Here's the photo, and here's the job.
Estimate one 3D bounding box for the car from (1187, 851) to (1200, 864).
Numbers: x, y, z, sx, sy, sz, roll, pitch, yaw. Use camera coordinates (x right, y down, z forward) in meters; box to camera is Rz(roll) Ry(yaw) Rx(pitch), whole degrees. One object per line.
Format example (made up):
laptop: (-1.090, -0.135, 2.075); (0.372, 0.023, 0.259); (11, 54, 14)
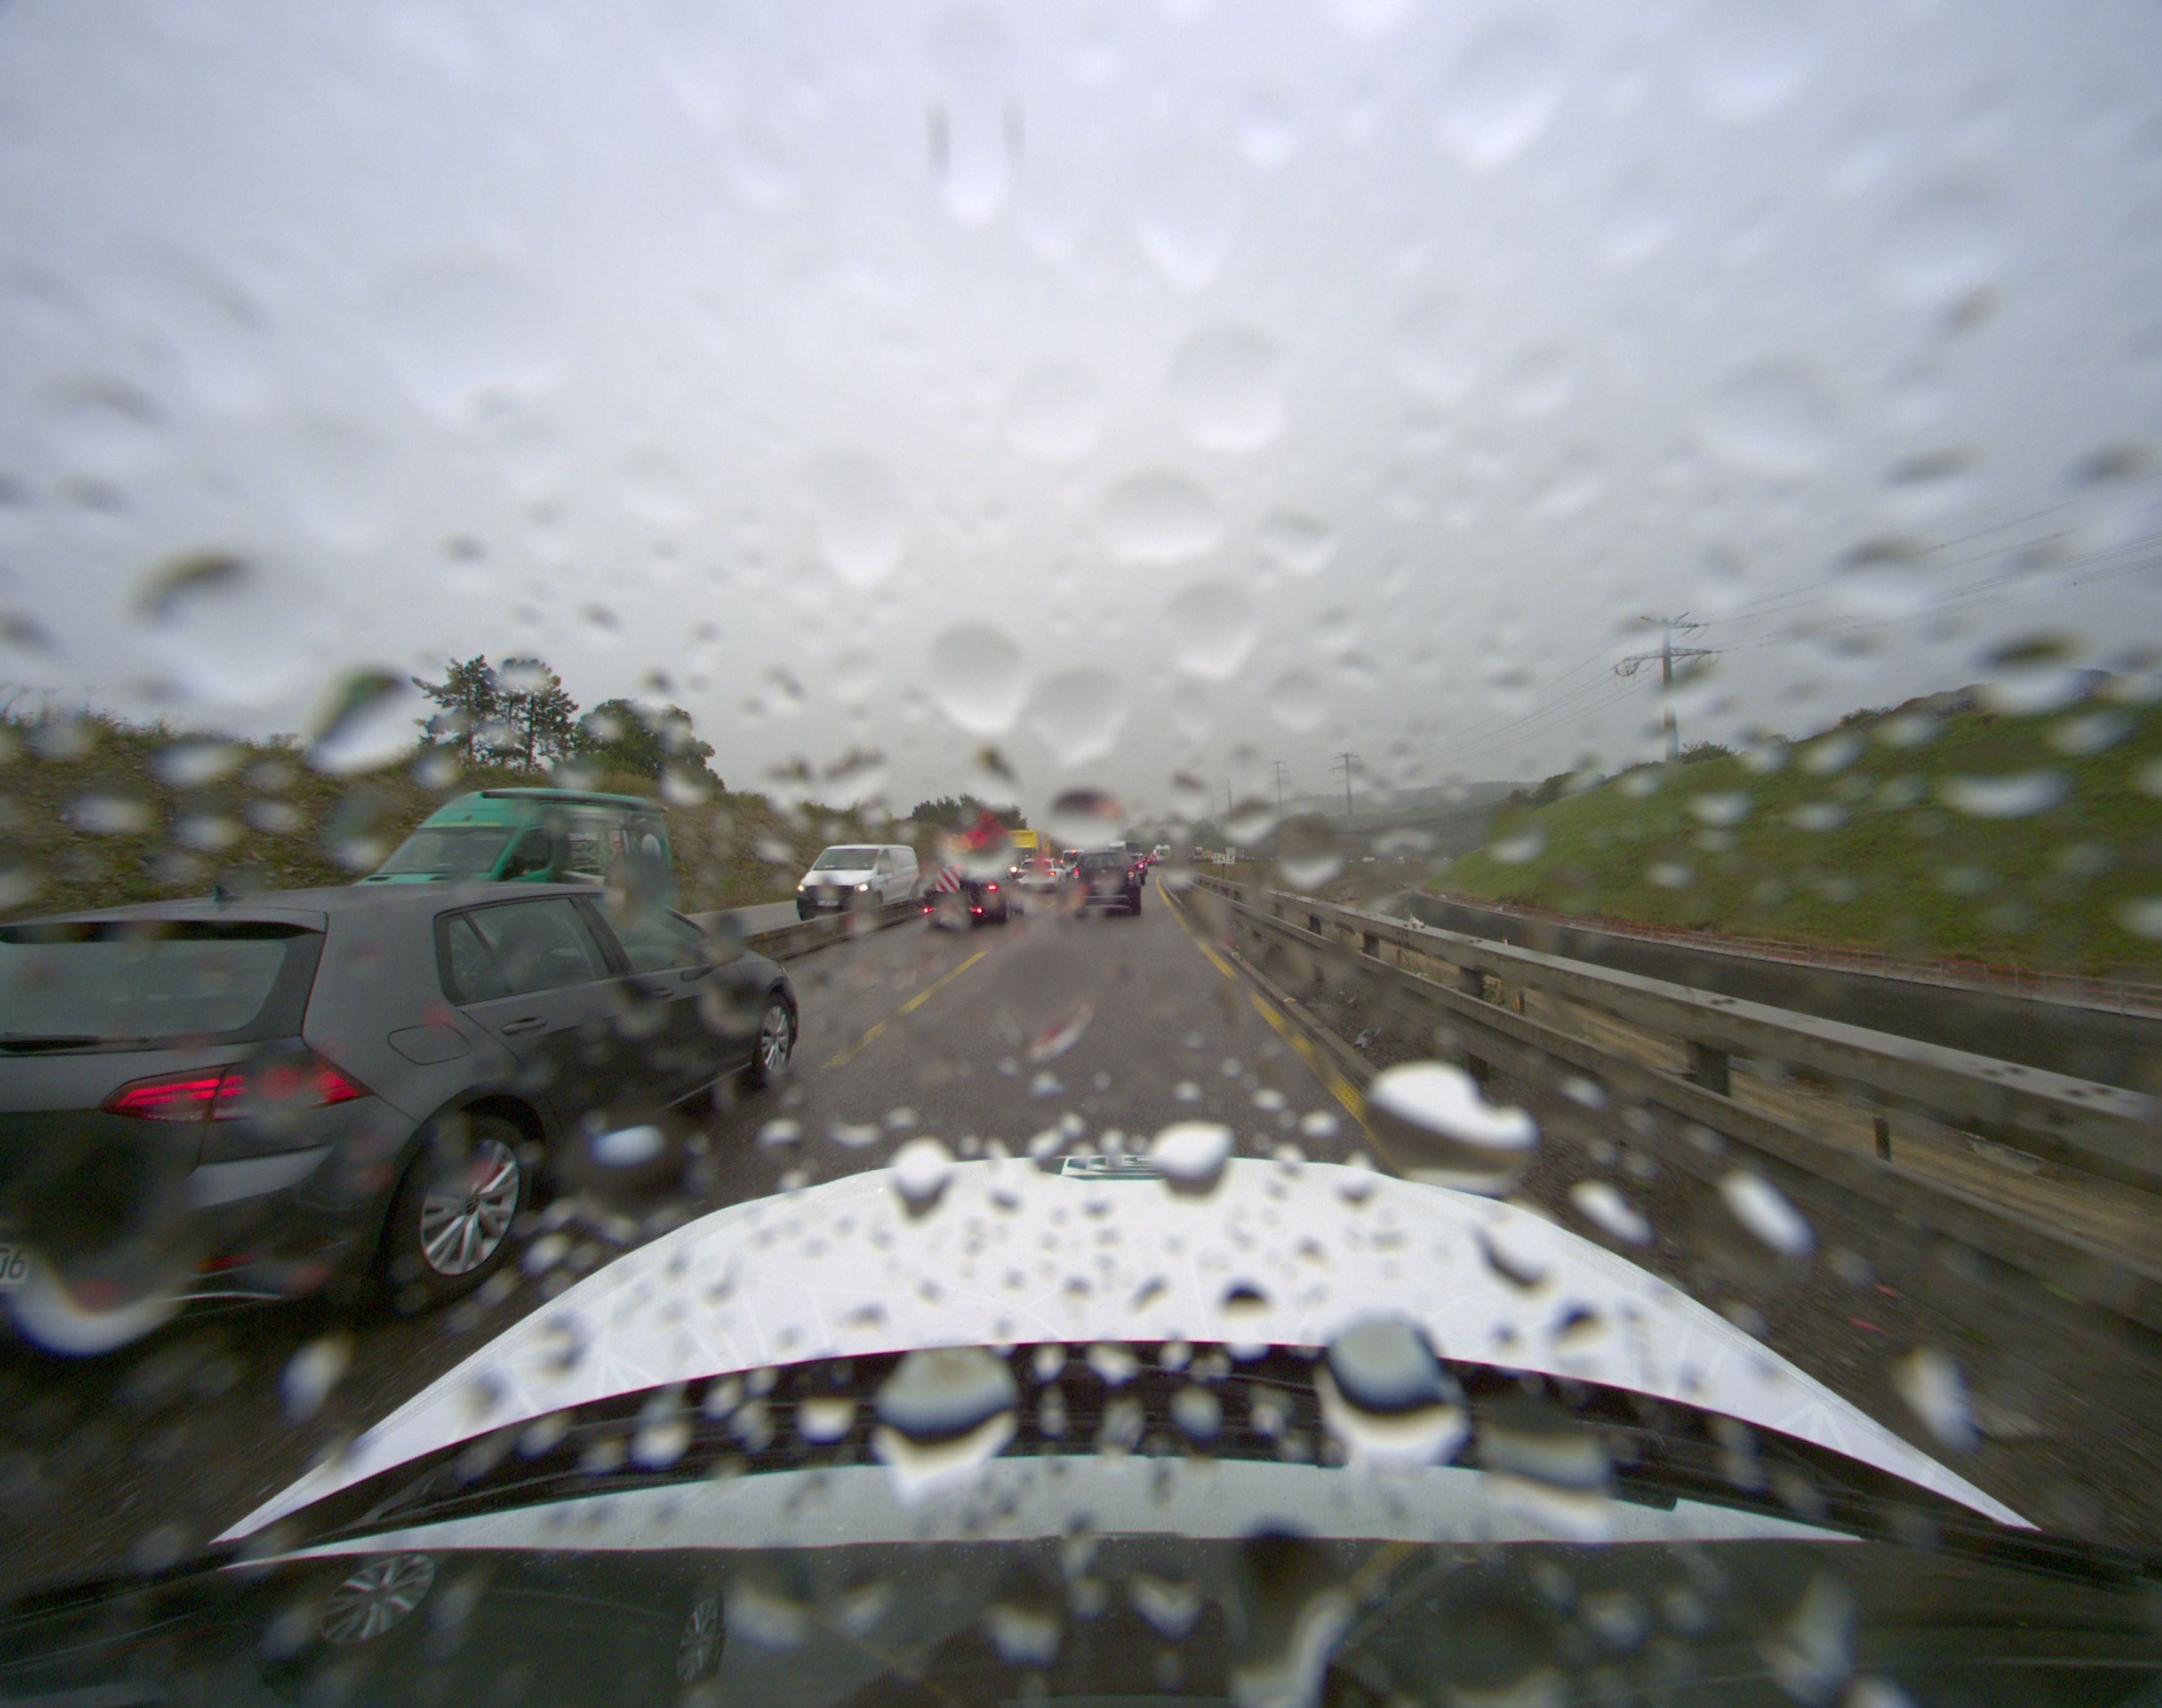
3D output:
car: (16.200, 0.505, 117.095); (1.765, 1.916, 4.010); (0, 0, 8)

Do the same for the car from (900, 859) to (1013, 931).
car: (-2.805, 0.880, 19.177); (1.821, 1.476, 3.780); (-1, 0, 4)

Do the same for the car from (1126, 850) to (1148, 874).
car: (4.104, 0.563, 59.312); (1.523, 1.640, 4.019); (0, 0, 6)

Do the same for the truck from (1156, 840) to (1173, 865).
truck: (10.997, -0.231, 106.991); (2.138, 3.166, 6.471); (0, 0, 7)

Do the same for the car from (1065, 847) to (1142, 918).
car: (0.659, 0.683, 21.212); (1.796, 1.646, 3.780); (-1, 0, 4)

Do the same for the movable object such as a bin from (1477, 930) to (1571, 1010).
movable object such as a bin: (25.106, 6.491, 46.394); (3.201, 3.867, 4.125); (1, 1, 2)

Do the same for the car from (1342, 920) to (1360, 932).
car: (50.033, 13.369, 151.222); (2.354, 2.013, 4.006); (0, 0, 5)

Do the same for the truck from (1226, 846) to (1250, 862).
truck: (42.532, 0.028, 219.685); (4.681, 4.150, 15.752); (0, 0, 17)

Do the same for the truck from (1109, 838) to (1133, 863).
truck: (7.036, -0.548, 140.509); (2.917, 4.097, 14.422); (0, 0, 8)

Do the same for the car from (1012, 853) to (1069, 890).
car: (-1.638, 0.705, 34.676); (1.859, 1.460, 4.554); (0, 0, 4)

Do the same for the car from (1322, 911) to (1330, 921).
car: (60.813, 15.421, 202.163); (1.977, 2.013, 4.019); (0, 0, 18)

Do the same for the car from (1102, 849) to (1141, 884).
car: (2.075, 0.599, 41.013); (1.859, 1.708, 4.005); (0, 0, 4)

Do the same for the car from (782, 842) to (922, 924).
car: (-5.753, 0.661, 21.290); (1.993, 1.887, 5.277); (0, 0, 2)

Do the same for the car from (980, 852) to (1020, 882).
car: (-4.491, 0.696, 45.662); (1.754, 1.597, 4.001); (0, 0, 1)

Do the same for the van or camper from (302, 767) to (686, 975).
van or camper: (-9.401, 0.225, 14.016); (2.092, 2.817, 5.947); (0, 0, 3)

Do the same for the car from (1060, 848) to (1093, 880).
car: (-0.227, 0.567, 49.375); (1.652, 1.880, 4.024); (0, 0, 4)

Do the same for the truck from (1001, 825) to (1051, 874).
truck: (-4.723, -0.358, 71.260); (2.754, 3.996, 8.439); (-1, 0, 7)

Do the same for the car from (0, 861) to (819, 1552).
car: (-2.877, 0.844, 4.030); (1.608, 1.506, 4.369); (-3, 0, 1)

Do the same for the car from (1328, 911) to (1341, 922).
car: (52.680, 12.952, 169.122); (1.983, 1.816, 4.008); (-1, 0, 7)

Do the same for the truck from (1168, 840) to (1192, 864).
truck: (16.232, -0.370, 133.131); (3.180, 3.761, 8.534); (0, 0, 11)
